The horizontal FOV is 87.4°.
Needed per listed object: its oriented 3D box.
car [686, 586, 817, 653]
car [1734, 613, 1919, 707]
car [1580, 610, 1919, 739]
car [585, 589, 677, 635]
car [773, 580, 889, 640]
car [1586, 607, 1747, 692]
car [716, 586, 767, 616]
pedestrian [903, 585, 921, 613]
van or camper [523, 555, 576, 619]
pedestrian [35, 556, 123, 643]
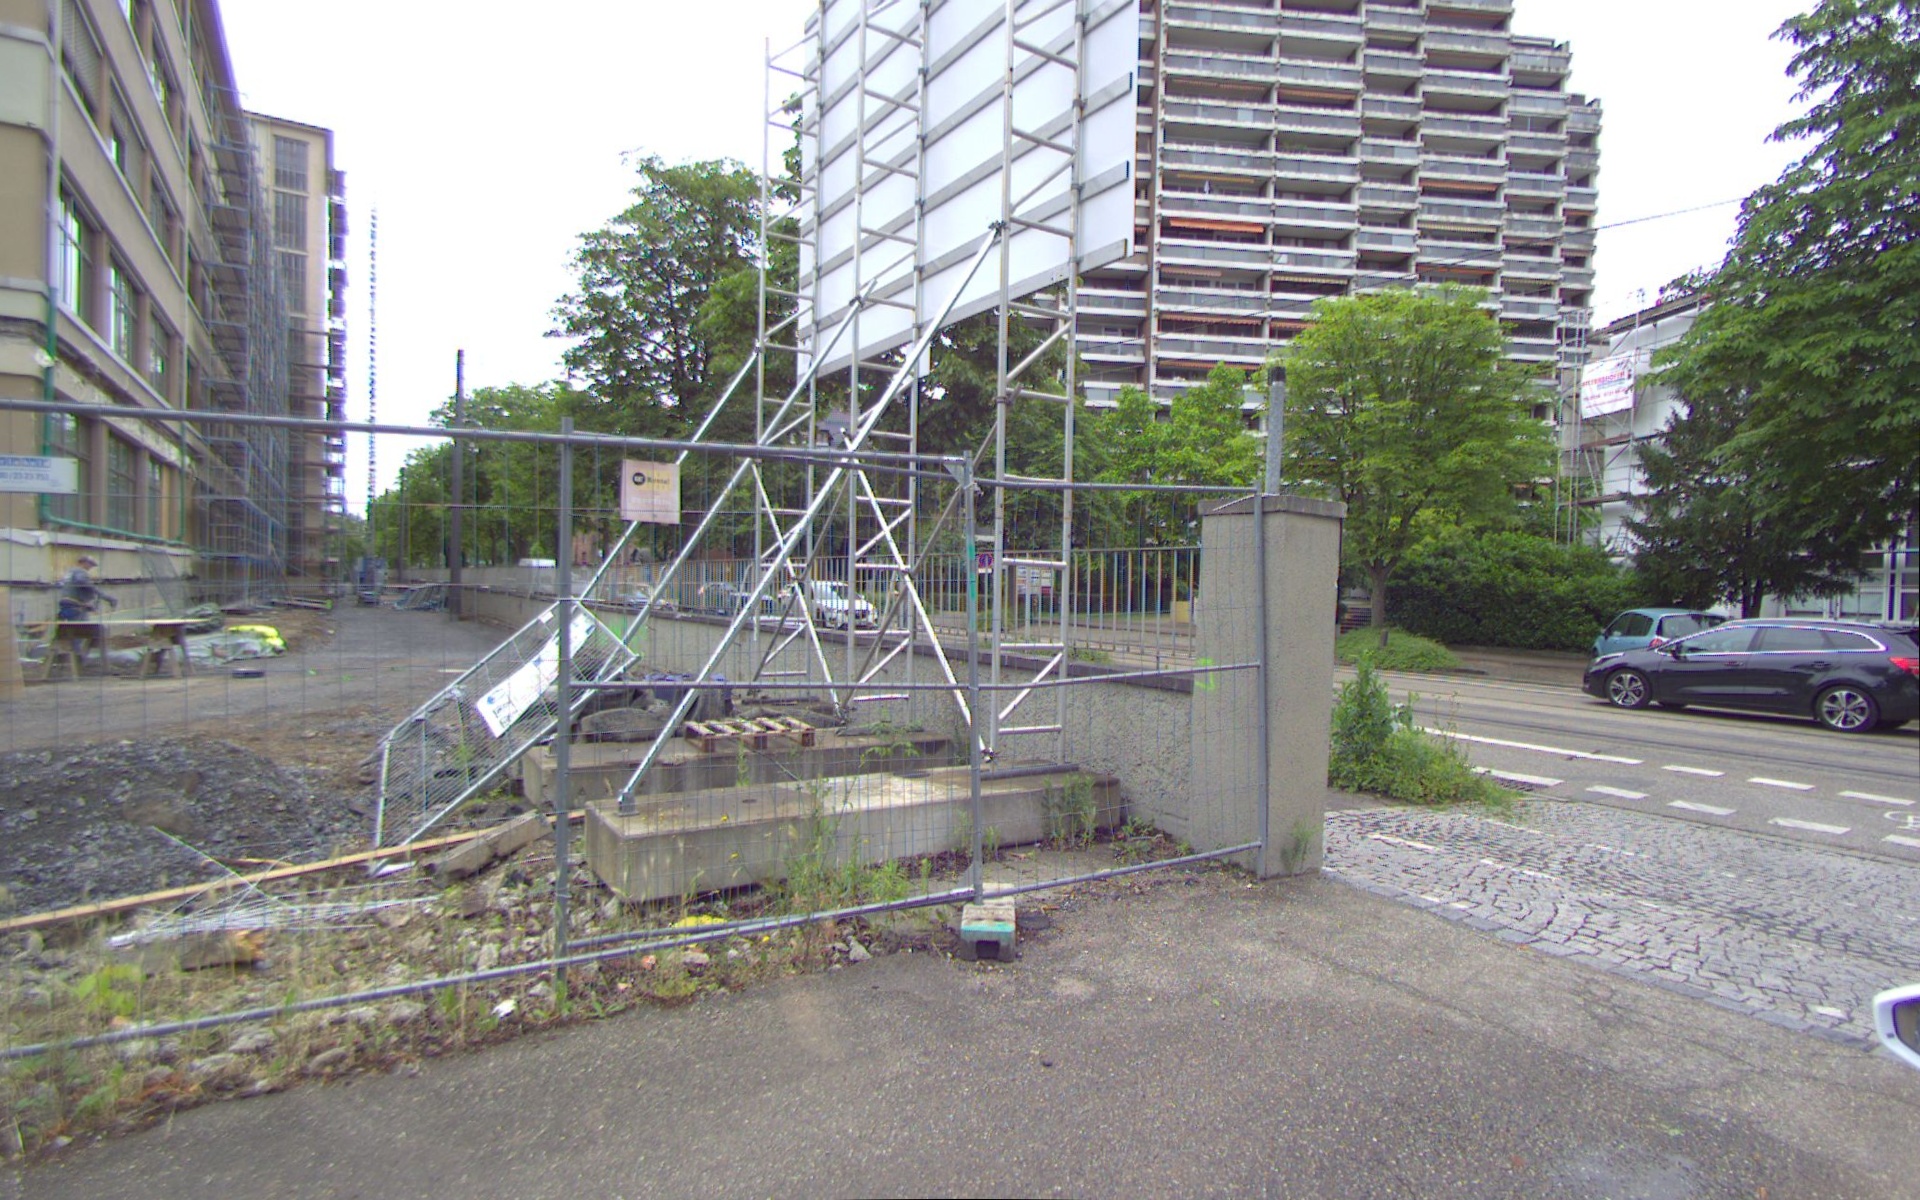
[{"bbox_3d":[-5.096,0.427,24.153,1.813,1.437,3.965,1,0,-32],"label":"car"},{"bbox_3d":[16.118,1.042,18.570,1.586,1.531,3.339,2,0,14],"label":"car"},{"bbox_3d":[11.759,0.972,14.669,1.805,1.510,4.215,1,0,-34],"label":"car"},{"bbox_3d":[-10.823,0.365,32.868,1.978,1.328,3.965,1,1,-32],"label":"car"},{"bbox_3d":[-4.196,0.256,32.054,1.978,1.726,4.560,0,1,-32],"label":"car"},{"bbox_3d":[14.666,0.954,21.055,1.586,1.557,3.338,2,0,14],"label":"car"},{"bbox_3d":[-11.302,0.025,51.912,1.504,1.439,3.400,1,0,-32],"label":"car"},{"bbox_3d":[-2.720,-0.071,56.522,0.838,1.548,0.515,1,1,-44],"label":"pedestrian"},{"bbox_3d":[-18.987,-0.618,46.402,1.974,2.789,3.973,1,1,-26],"label":"van or camper"},{"bbox_3d":[-15.212,-0.009,17.357,0.916,1.457,0.979,2,0,38],"label":"pedestrian"}]
